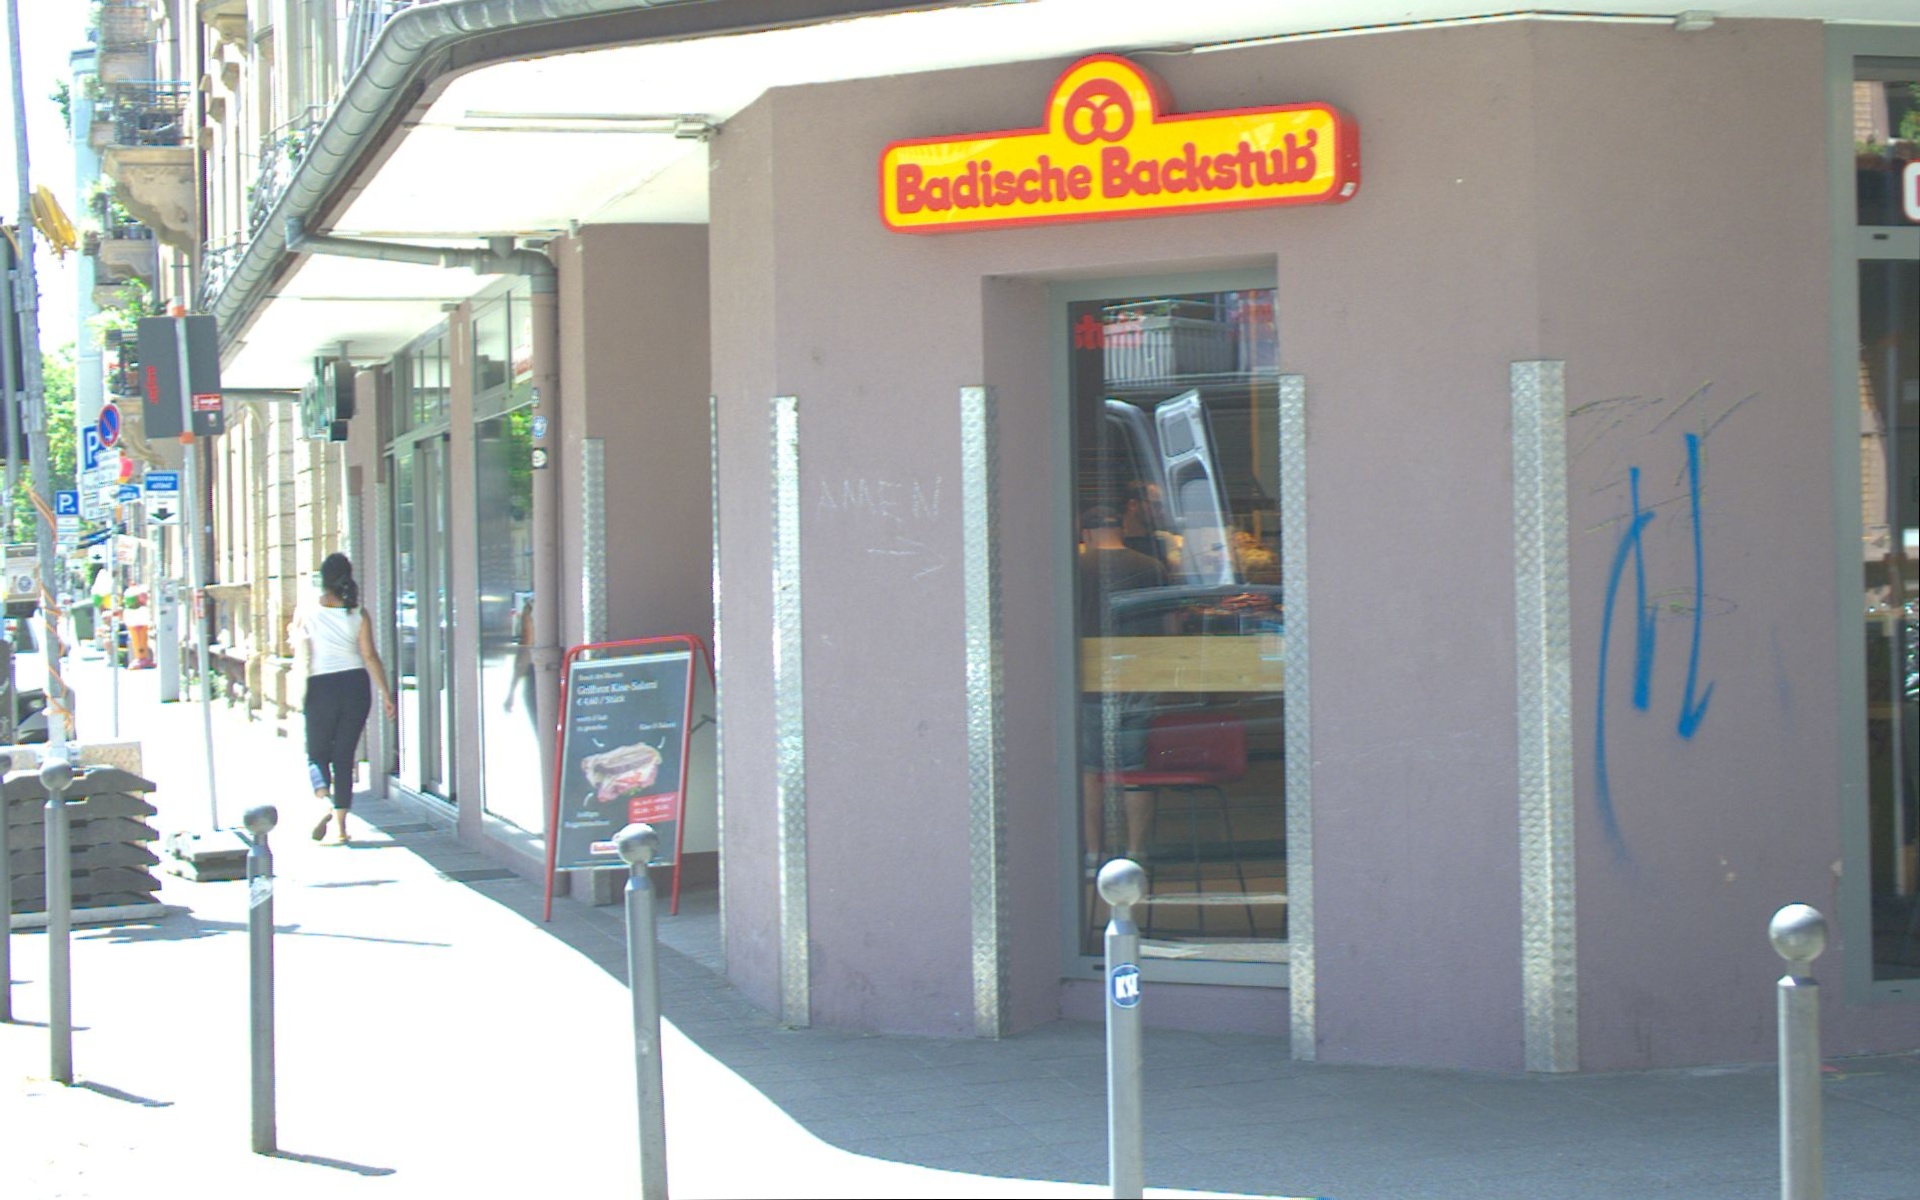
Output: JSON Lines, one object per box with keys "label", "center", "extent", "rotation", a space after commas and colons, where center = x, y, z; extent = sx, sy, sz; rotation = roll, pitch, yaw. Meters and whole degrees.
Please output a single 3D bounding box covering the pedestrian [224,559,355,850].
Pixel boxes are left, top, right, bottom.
{"label": "pedestrian", "center": [-3.847, 0.581, 19.699], "extent": [0.641, 1.618, 0.804], "rotation": [-1, 0, -16]}
